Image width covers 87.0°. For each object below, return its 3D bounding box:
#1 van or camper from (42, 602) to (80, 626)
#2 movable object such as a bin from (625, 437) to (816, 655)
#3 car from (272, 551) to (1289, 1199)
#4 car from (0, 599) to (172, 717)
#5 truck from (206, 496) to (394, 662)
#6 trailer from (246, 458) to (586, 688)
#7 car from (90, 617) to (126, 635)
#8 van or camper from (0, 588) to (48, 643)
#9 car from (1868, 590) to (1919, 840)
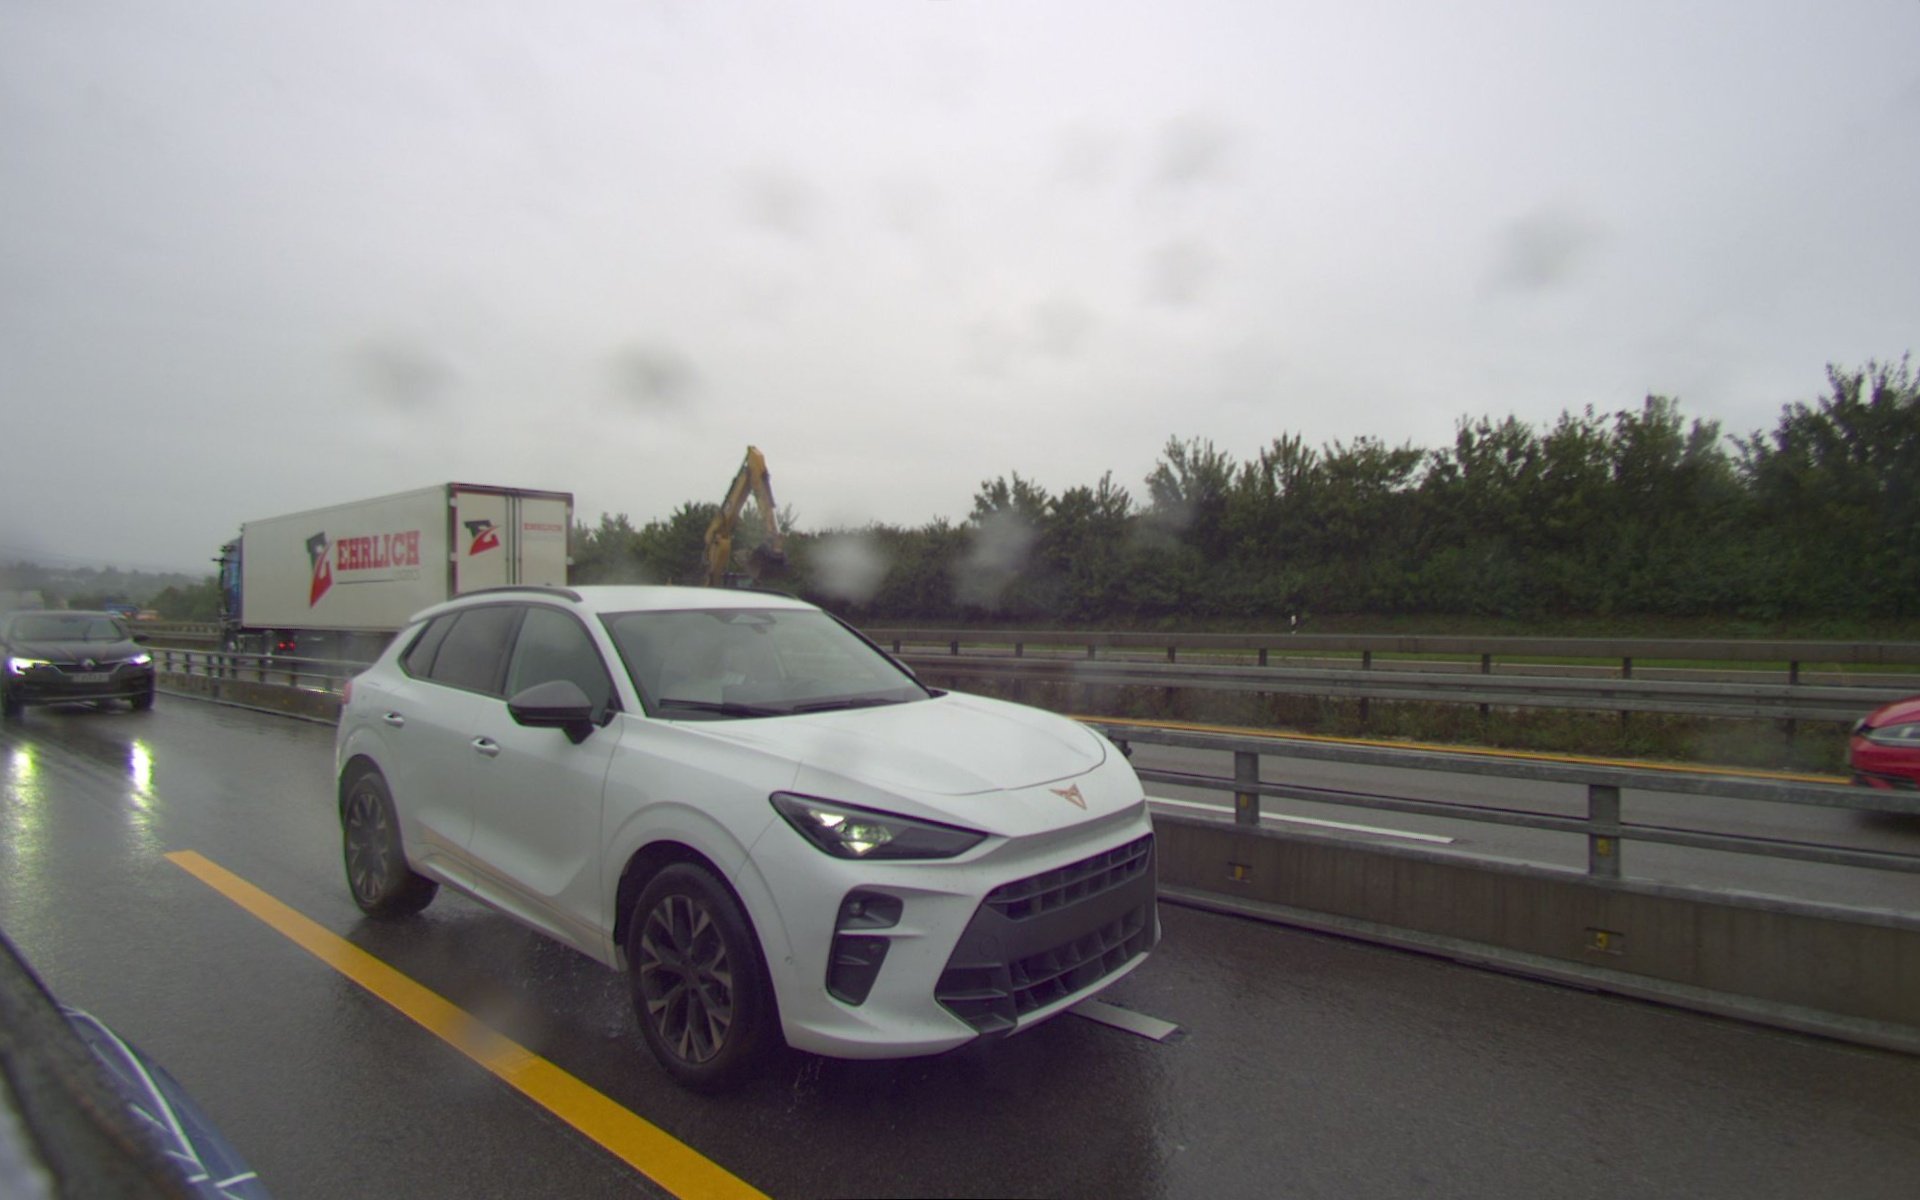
[{"bbox_3d":[-164.146,2.526,184.714,8.487,4.356,3.338,0,0,35],"label":"van or camper"},{"bbox_3d":[-10.135,-2.057,42.224,8.305,8.204,3.559,0,0,41],"label":"movable object such as a bin"},{"bbox_3d":[-1.295,0.686,4.655,5.004,1.562,1.907,-1,0,41],"label":"car"},{"bbox_3d":[-14.756,0.841,16.511,5.193,1.640,2.042,-1,-1,41],"label":"car"},{"bbox_3d":[-19.125,-0.515,29.178,6.322,4.264,2.859,0,-1,41],"label":"truck"},{"bbox_3d":[-13.624,-0.474,24.366,12.889,4.319,2.862,0,-1,41],"label":"trailer"},{"bbox_3d":[-99.098,2.975,117.685,5.354,1.981,2.075,-1,-1,36],"label":"car"},{"bbox_3d":[-55.943,0.873,59.716,6.694,3.064,2.270,0,1,40],"label":"van or camper"},{"bbox_3d":[7.820,0.689,5.515,4.215,1.515,1.591,0,1,41],"label":"car"}]
